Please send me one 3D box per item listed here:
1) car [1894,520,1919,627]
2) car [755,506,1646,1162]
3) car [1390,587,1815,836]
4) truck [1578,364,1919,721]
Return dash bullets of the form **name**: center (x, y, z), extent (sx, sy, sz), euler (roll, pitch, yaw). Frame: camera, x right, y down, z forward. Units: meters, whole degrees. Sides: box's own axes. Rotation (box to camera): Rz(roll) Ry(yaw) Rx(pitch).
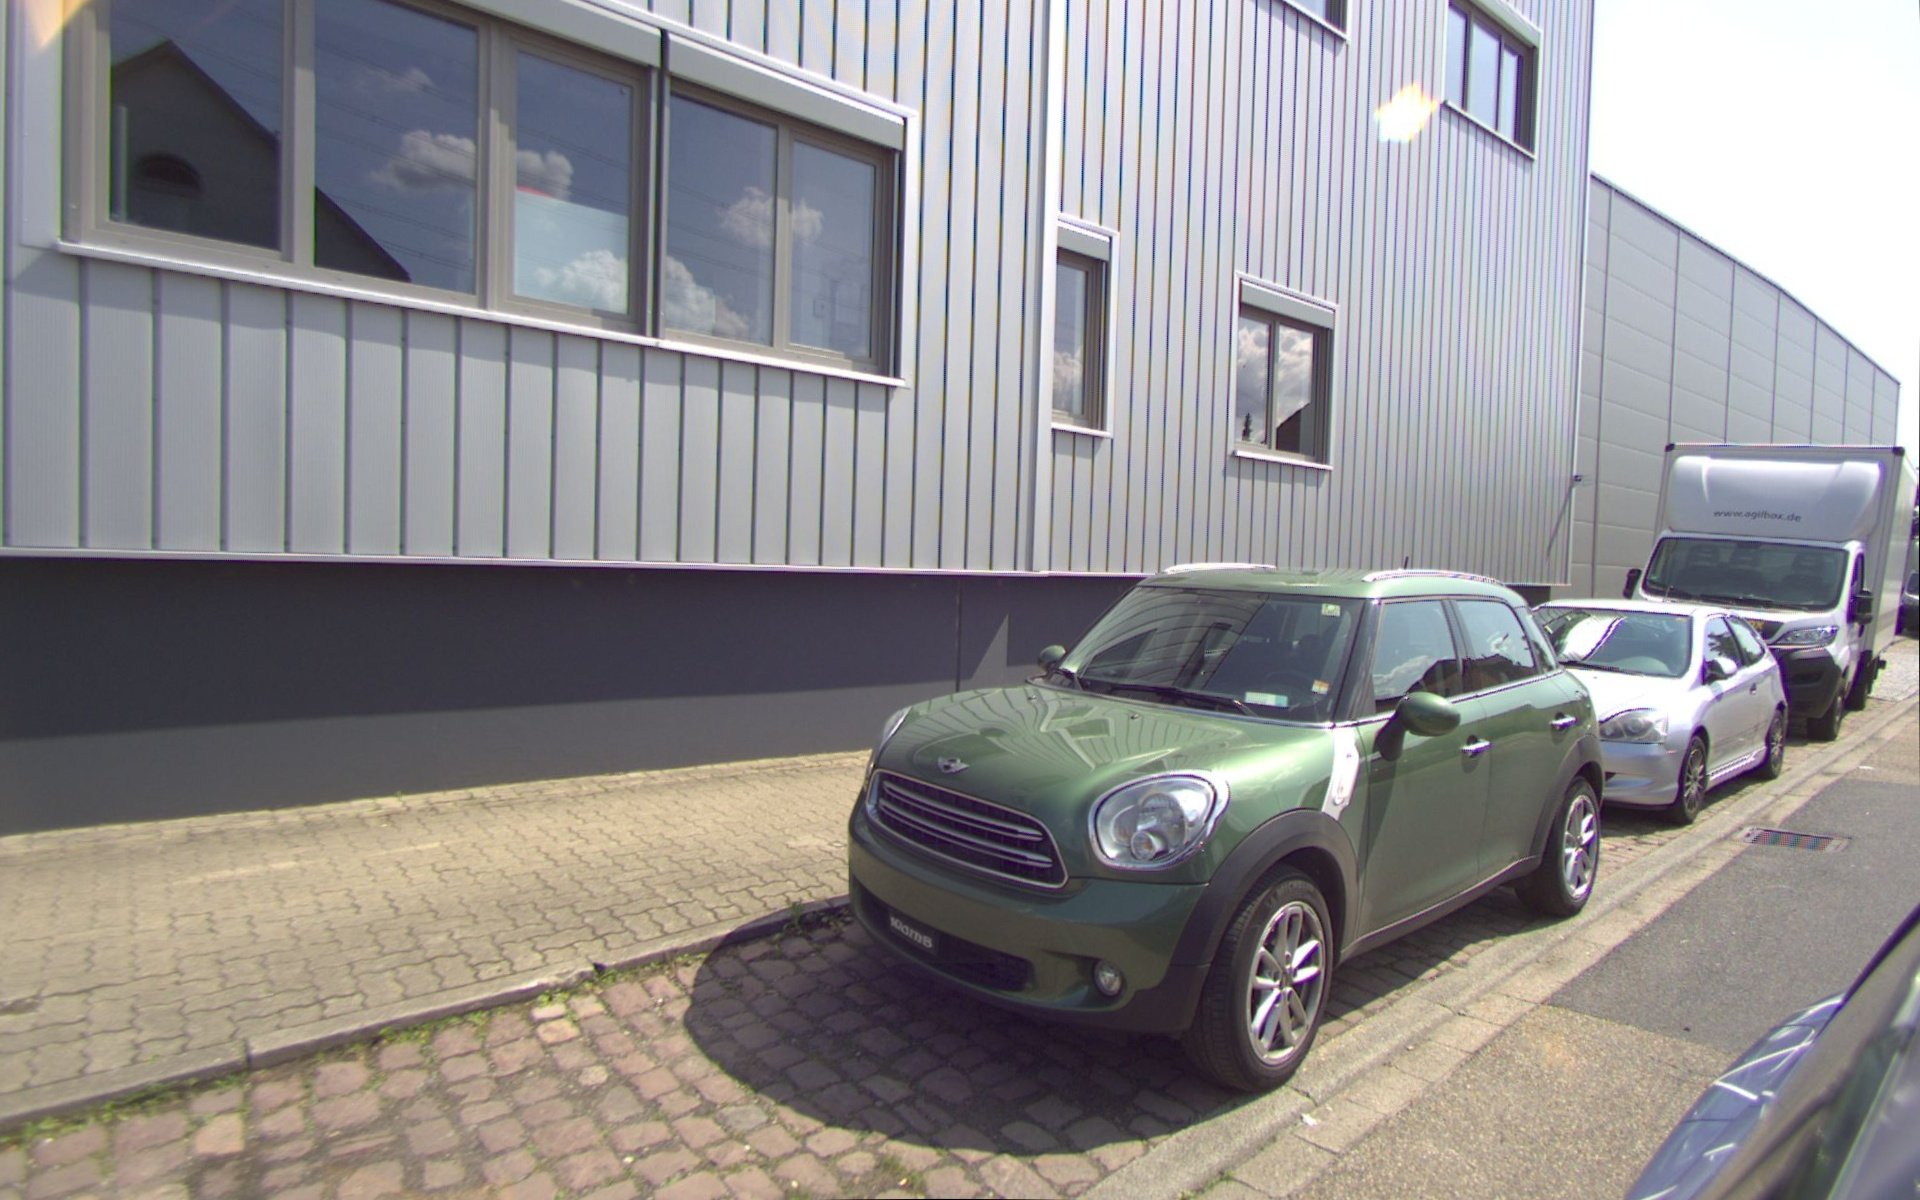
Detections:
- **car**: center (33.193, -0.730, 33.339), extent (6.778, 3.324, 2.420), euler (-1, 9, -41)
- **car**: center (1.334, 0.522, 4.350), extent (4.043, 1.530, 1.713), euler (-1, 0, -41)
- **car**: center (5.199, 0.631, 7.946), extent (4.183, 1.451, 1.713), euler (-1, 0, -41)
- **truck**: center (10.567, -0.573, 12.982), extent (7.944, 3.266, 2.602), euler (-1, 0, -44)
